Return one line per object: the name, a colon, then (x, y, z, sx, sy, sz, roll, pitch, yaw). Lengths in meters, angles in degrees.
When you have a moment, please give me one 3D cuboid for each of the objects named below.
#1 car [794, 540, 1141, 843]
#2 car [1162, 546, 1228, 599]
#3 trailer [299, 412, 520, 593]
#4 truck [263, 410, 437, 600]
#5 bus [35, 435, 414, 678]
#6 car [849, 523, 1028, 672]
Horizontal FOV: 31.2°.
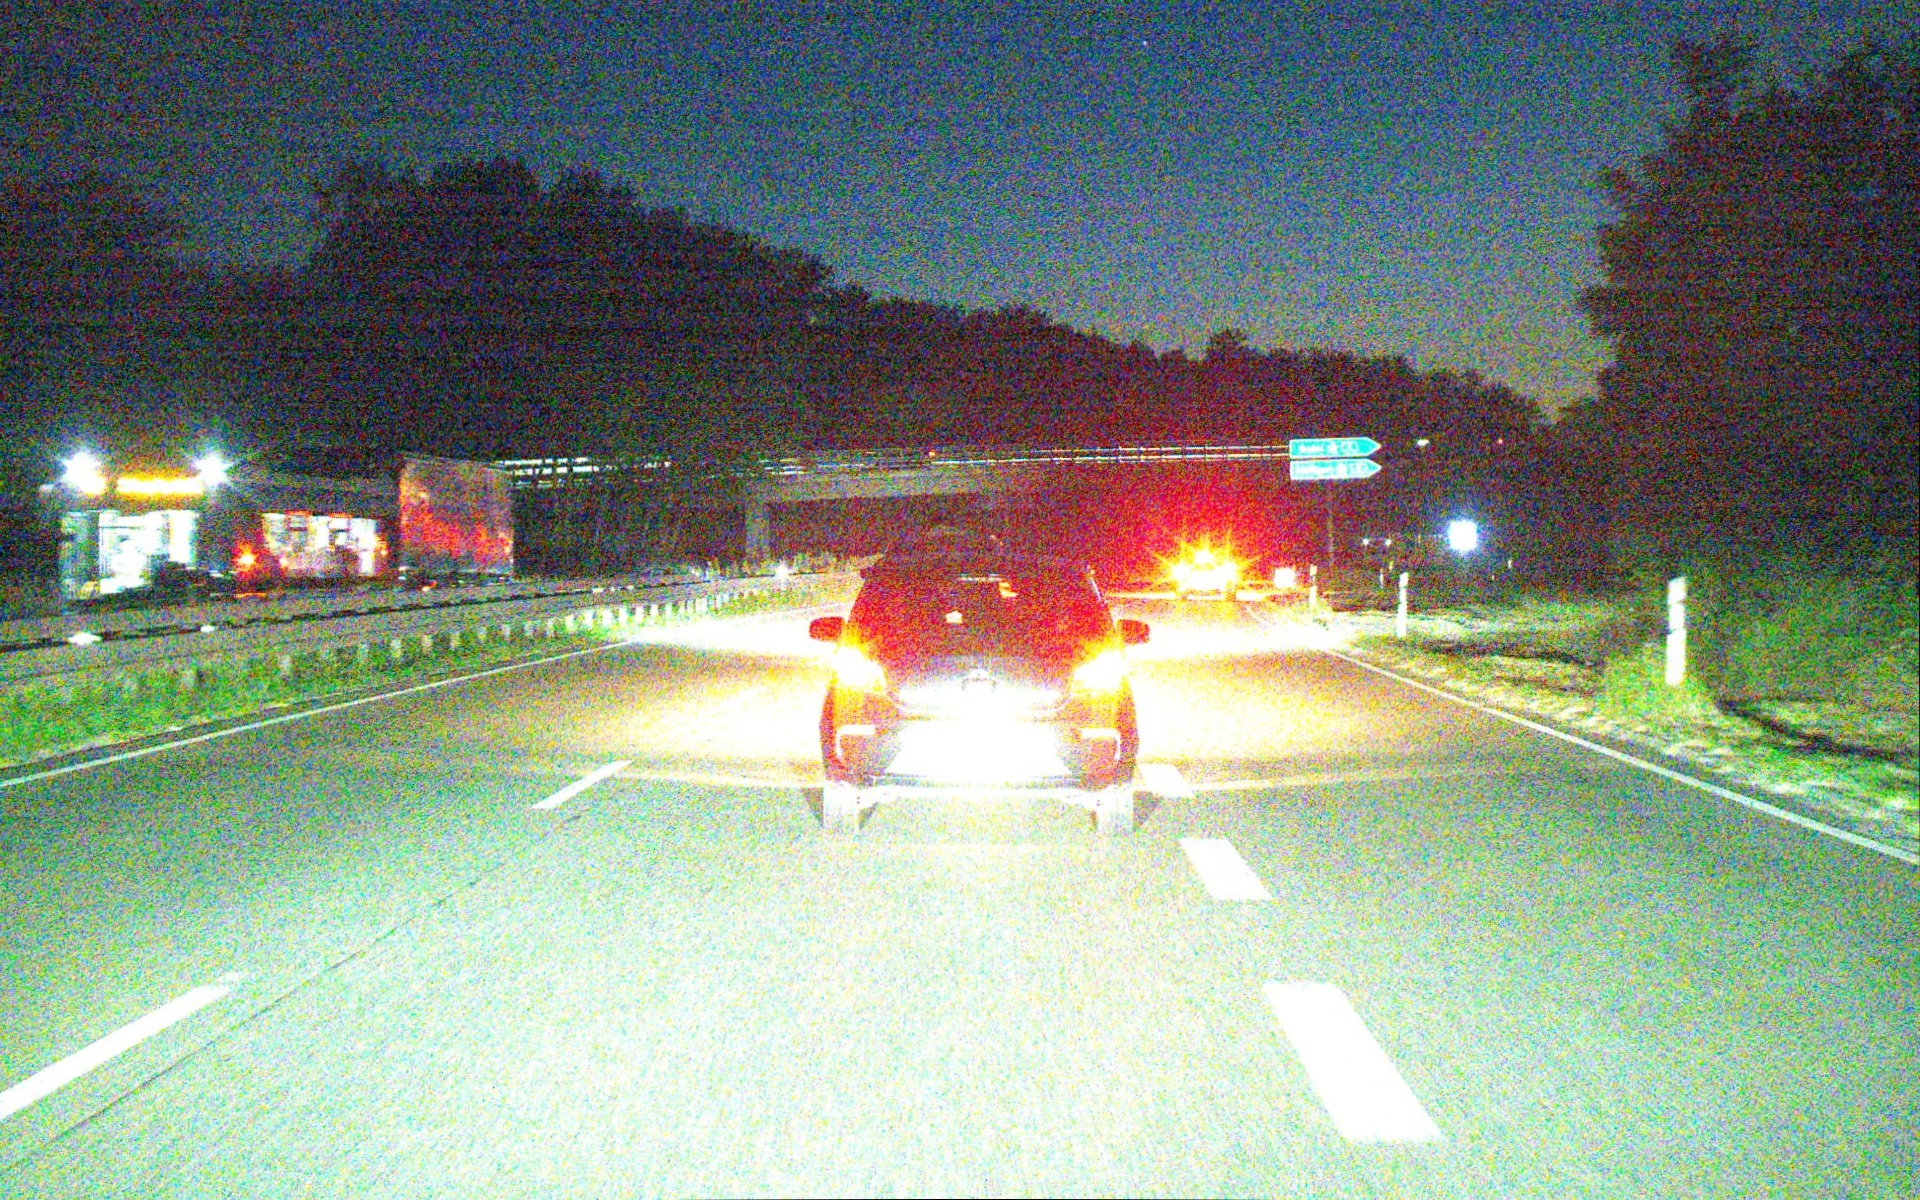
car: (0.074, 0.411, 18.817, 1.691, 1.473, 4.000, 0, 1, 1)
car: (7.240, -0.872, 106.148, 1.733, 1.612, 3.799, 0, 1, -1)
trailer: (-13.525, -2.394, 85.798, 2.676, 4.135, 13.745, 0, 1, 3)
truck: (-13.911, -2.164, 78.828, 2.676, 4.163, 5.868, 0, 1, 2)
bus: (-11.243, -0.787, 54.147, 2.923, 3.376, 12.307, 0, 2, 2)
car: (-0.205, -0.076, 39.590, 1.940, 1.603, 4.644, 0, 1, 1)
